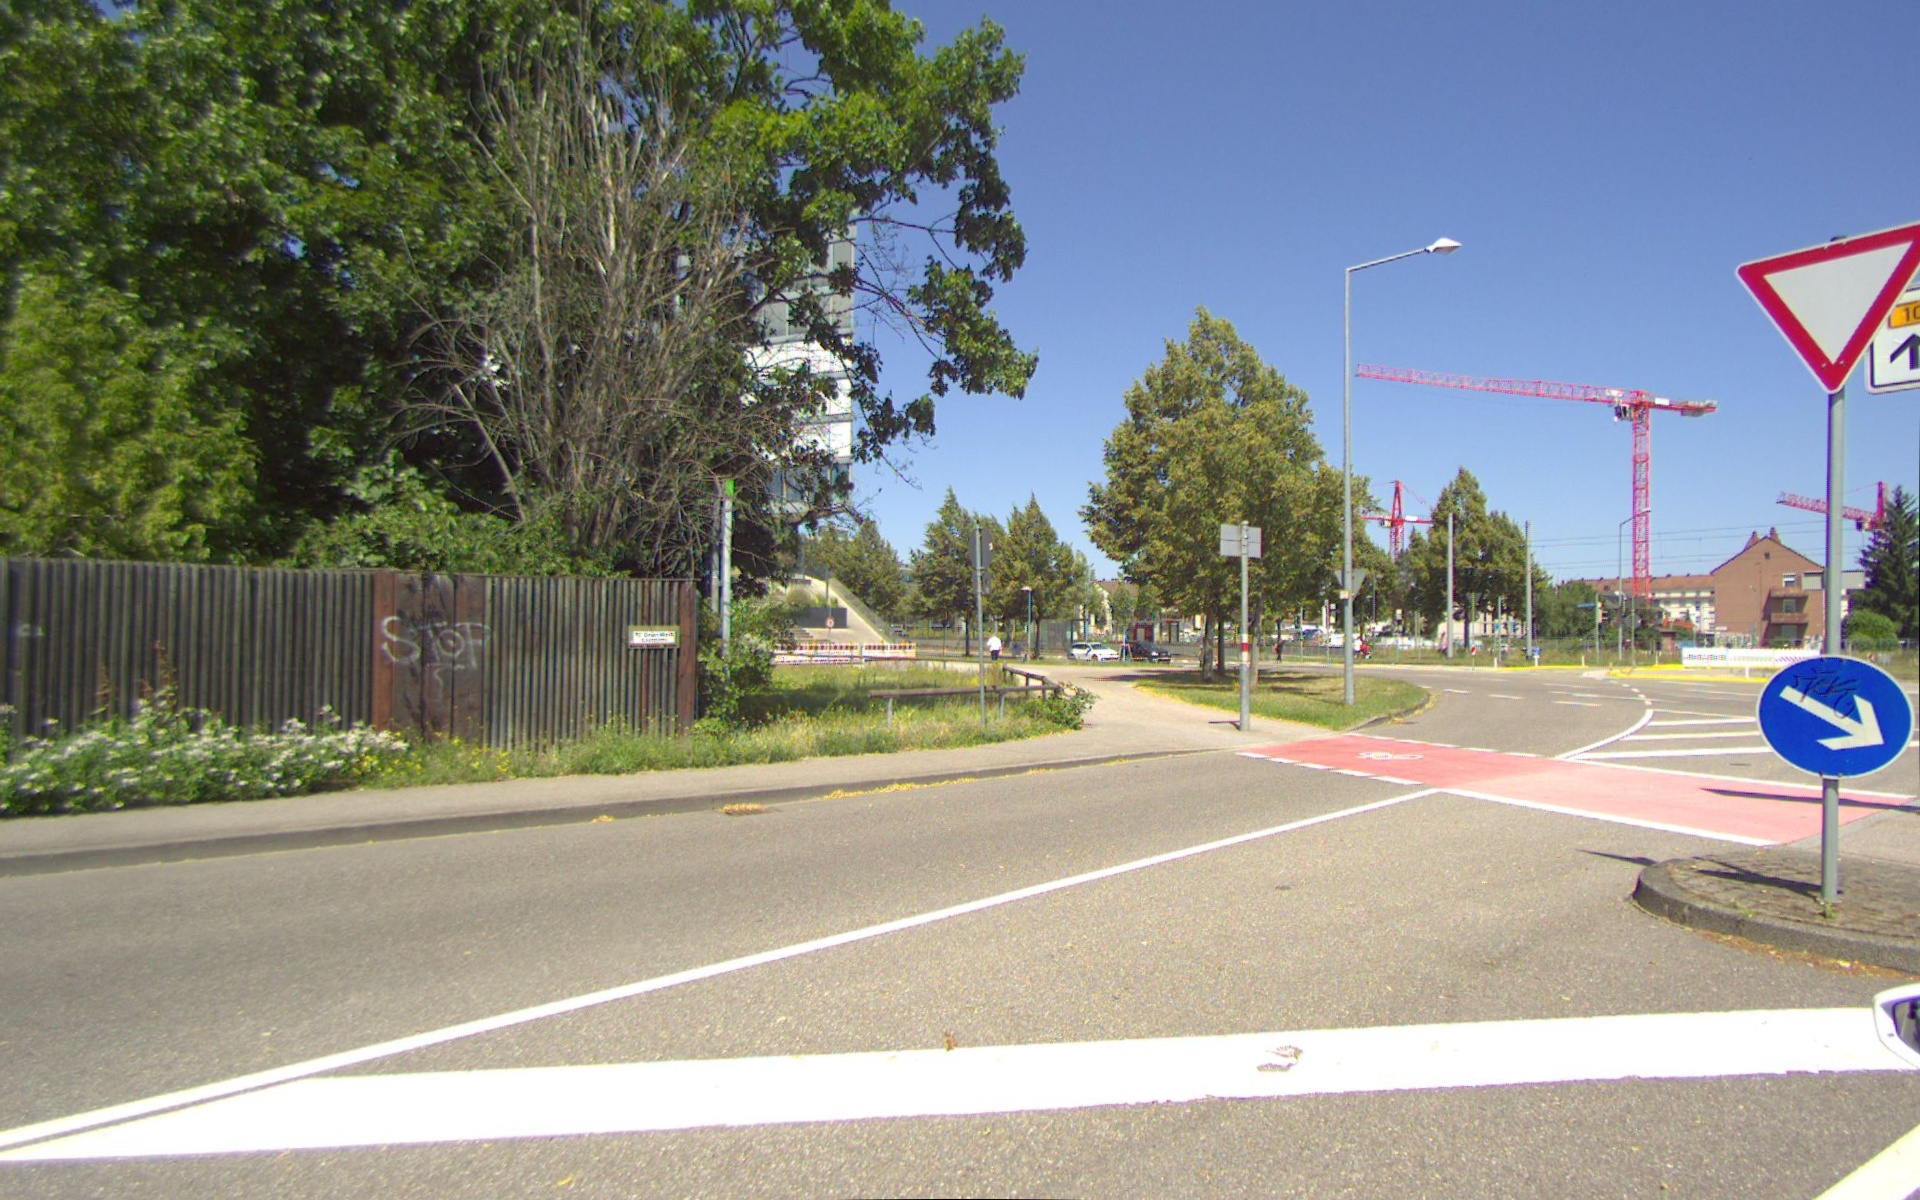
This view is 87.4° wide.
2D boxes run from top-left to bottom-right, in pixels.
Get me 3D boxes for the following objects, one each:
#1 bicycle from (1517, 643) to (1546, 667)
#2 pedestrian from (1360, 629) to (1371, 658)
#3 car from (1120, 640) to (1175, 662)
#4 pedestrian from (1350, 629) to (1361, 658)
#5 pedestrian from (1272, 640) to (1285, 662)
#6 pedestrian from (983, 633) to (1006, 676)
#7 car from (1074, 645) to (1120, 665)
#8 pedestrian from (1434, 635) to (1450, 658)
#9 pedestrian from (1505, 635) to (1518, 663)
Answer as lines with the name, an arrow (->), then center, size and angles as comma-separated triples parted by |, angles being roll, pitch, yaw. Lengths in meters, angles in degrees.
bicycle -> 41.367, 3.975, 72.728 | 2.053, 1.707, 0.557 | 2, -1, -19
pedestrian -> 27.262, 2.914, 67.453 | 0.617, 1.960, 0.646 | -1, -2, 26
car -> 12.176, 3.319, 65.555 | 1.719, 1.228, 3.541 | 2, -1, -27
pedestrian -> 26.408, 2.918, 67.147 | 0.617, 1.960, 0.646 | -1, -2, 26
pedestrian -> 20.721, 3.312, 65.365 | 0.589, 1.424, 0.540 | 1, -2, -26
pedestrian -> 1.549, 2.447, 45.289 | 0.821, 1.893, 0.610 | 2, -1, -16
car -> 9.601, 3.852, 70.504 | 1.557, 1.241, 3.300 | 2, -1, -27
pedestrian -> 35.468, 3.402, 73.919 | 0.749, 1.661, 0.778 | 2, -1, -17
pedestrian -> 40.660, 3.588, 74.063 | 0.588, 2.040, 0.598 | 2, -1, -30
